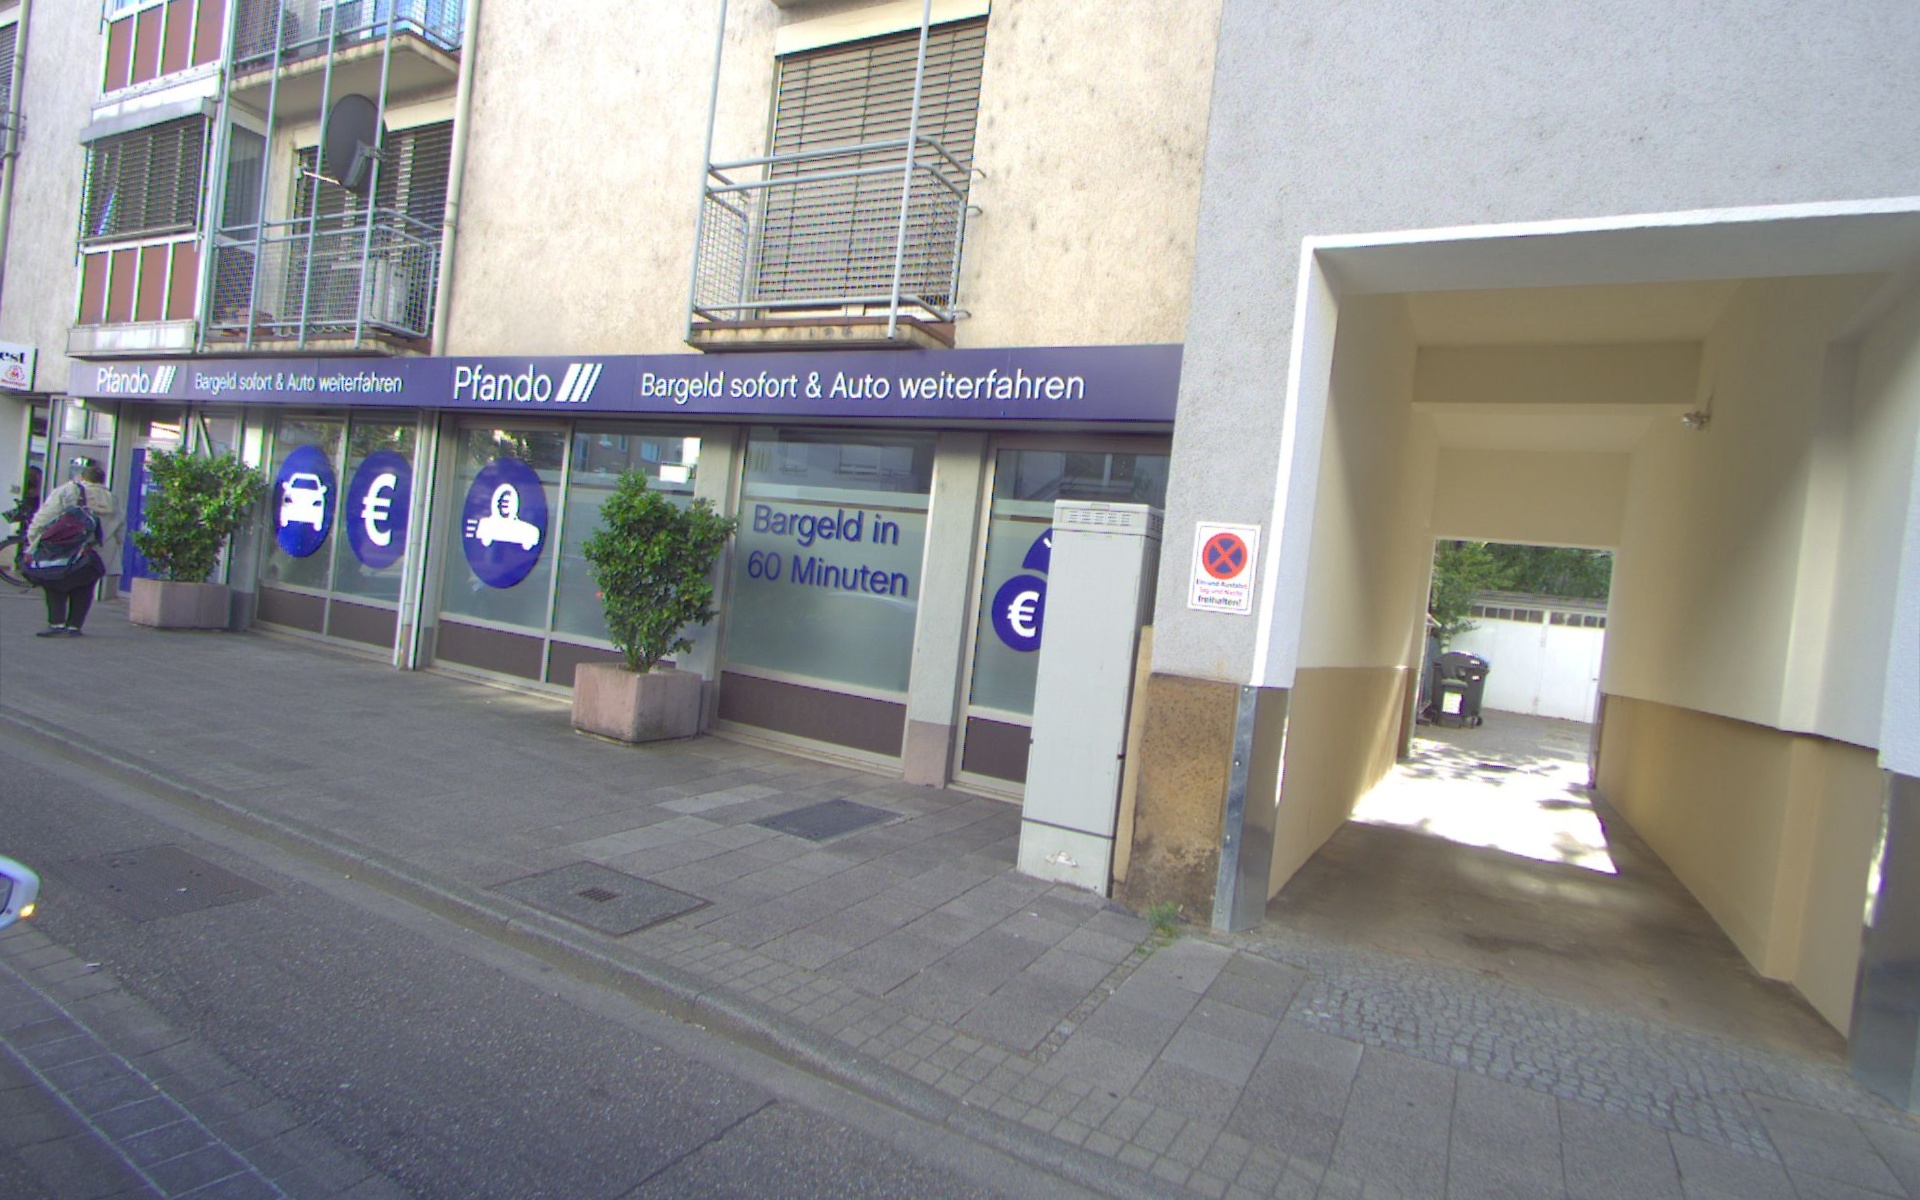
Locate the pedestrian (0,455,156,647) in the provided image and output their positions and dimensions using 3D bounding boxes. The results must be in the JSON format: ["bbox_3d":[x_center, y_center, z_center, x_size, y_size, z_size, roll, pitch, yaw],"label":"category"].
[{"bbox_3d":[-8.157,-0.436,9.263,0.738,1.611,0.827,6,-1,31],"label":"pedestrian"}]

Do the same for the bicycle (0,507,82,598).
[{"bbox_3d":[-11.949,-0.635,12.854,1.678,1.010,0.543,6,-1,32],"label":"bicycle"}]

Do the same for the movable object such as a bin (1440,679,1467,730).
[{"bbox_3d":[9.535,2.006,19.428,0.365,0.920,0.420,7,2,28],"label":"movable object such as a bin"}]

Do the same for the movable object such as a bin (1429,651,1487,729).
[{"bbox_3d":[9.967,1.788,20.135,0.873,1.411,0.758,7,2,28],"label":"movable object such as a bin"}]
